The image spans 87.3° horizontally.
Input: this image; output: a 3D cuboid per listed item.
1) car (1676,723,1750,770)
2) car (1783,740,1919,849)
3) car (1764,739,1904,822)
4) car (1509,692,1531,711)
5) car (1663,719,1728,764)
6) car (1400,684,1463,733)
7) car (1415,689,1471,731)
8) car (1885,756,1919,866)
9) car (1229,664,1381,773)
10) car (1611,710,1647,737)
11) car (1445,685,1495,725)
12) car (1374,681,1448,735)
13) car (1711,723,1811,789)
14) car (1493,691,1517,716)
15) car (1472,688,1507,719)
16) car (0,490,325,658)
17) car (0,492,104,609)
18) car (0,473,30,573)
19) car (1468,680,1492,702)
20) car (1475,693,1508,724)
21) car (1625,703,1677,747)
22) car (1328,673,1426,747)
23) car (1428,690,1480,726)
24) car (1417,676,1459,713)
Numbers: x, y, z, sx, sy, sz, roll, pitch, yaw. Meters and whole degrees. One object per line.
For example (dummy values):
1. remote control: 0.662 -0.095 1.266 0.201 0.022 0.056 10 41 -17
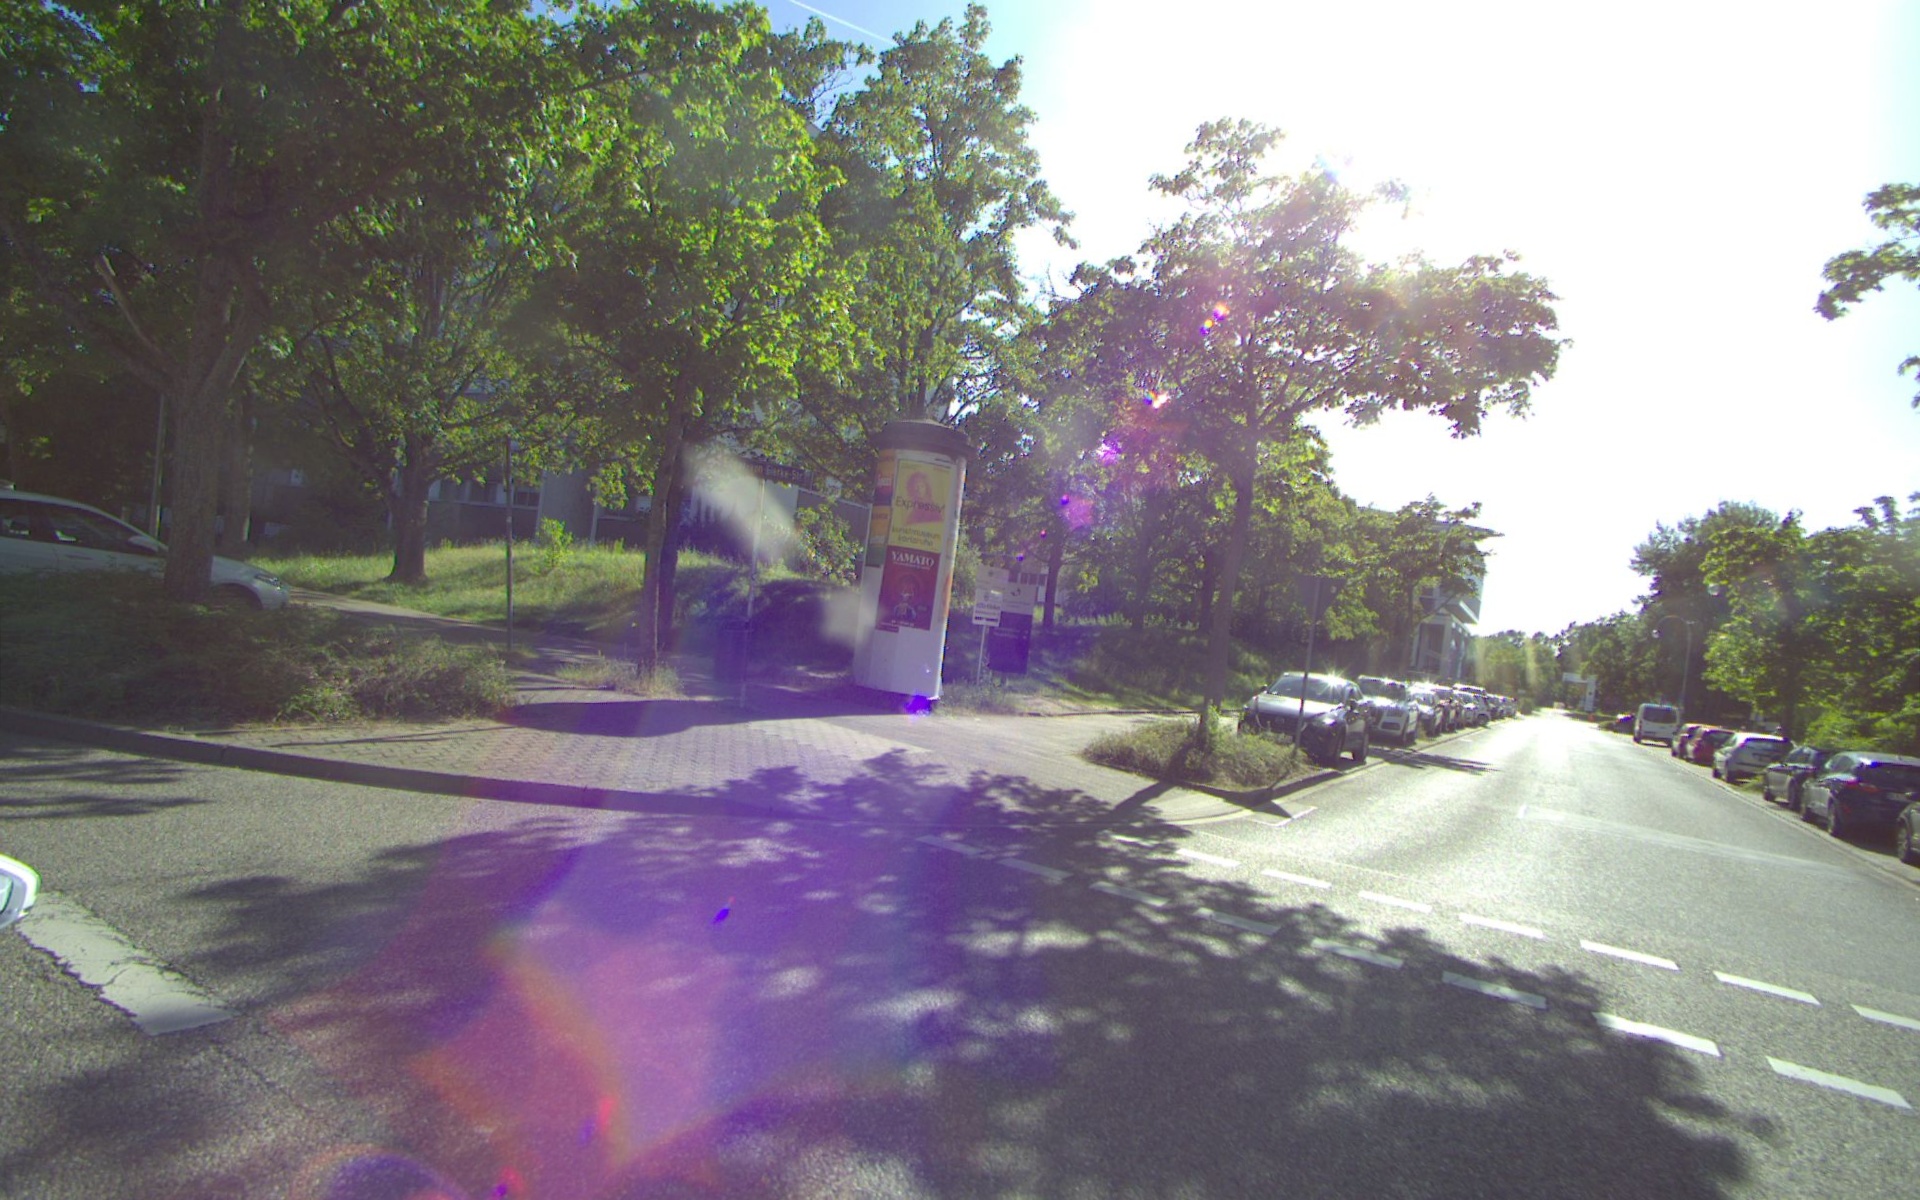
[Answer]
1. car: 29.387 5.692 39.377 1.738 1.441 3.869 7 -2 31
2. car: 16.151 3.400 17.879 1.623 1.486 3.852 7 -2 31
3. car: 18.936 3.869 21.955 1.526 1.320 3.500 7 -2 30
4. car: 70.484 12.788 126.642 1.964 2.037 4.000 7 -2 26
5. car: 31.729 6.065 43.476 1.618 1.571 3.997 7 -2 29
6. car: 18.425 4.226 39.223 1.804 1.561 4.015 7 -2 30
7. car: 21.356 4.842 44.377 1.804 1.493 4.015 7 -2 30
8. car: 13.946 2.989 13.248 1.741 1.464 3.994 6 -3 32
9. car: 6.511 2.135 18.691 1.804 1.548 3.995 7 -1 30
10. car: 54.432 10.033 81.912 1.966 1.894 3.996 7 -2 30
11. car: 27.404 5.640 53.979 1.966 1.820 4.446 7 -2 30
12. car: 15.532 3.703 34.564 1.804 1.519 4.015 7 -2 30
13. car: 23.293 4.497 29.386 1.682 1.510 3.766 7 -2 32
14. car: 48.902 9.316 90.193 1.648 1.955 3.768 7 -2 30
15. car: 39.774 7.785 75.503 1.966 1.969 3.996 7 -2 30
16. car: -9.683 -0.300 10.828 1.805 1.613 4.432 7 1 29
17. car: -14.850 -0.932 13.680 1.786 1.563 4.454 7 -2 29
18. car: -17.439 -1.443 15.550 1.704 1.638 4.123 6 0 29
19. car: 55.778 9.739 107.920 1.964 2.037 4.000 7 -2 26
20. car: 34.747 7.089 65.706 1.648 1.723 3.768 7 -2 30
21. car: 40.468 7.318 58.986 1.966 2.206 3.996 7 -2 30
22. car: 11.599 3.024 27.819 1.804 1.637 4.455 7 -2 30
23. car: 24.290 5.306 49.392 1.889 1.463 3.996 7 -2 30
24. car: 30.463 6.033 64.037 1.966 2.037 3.997 7 -2 29
